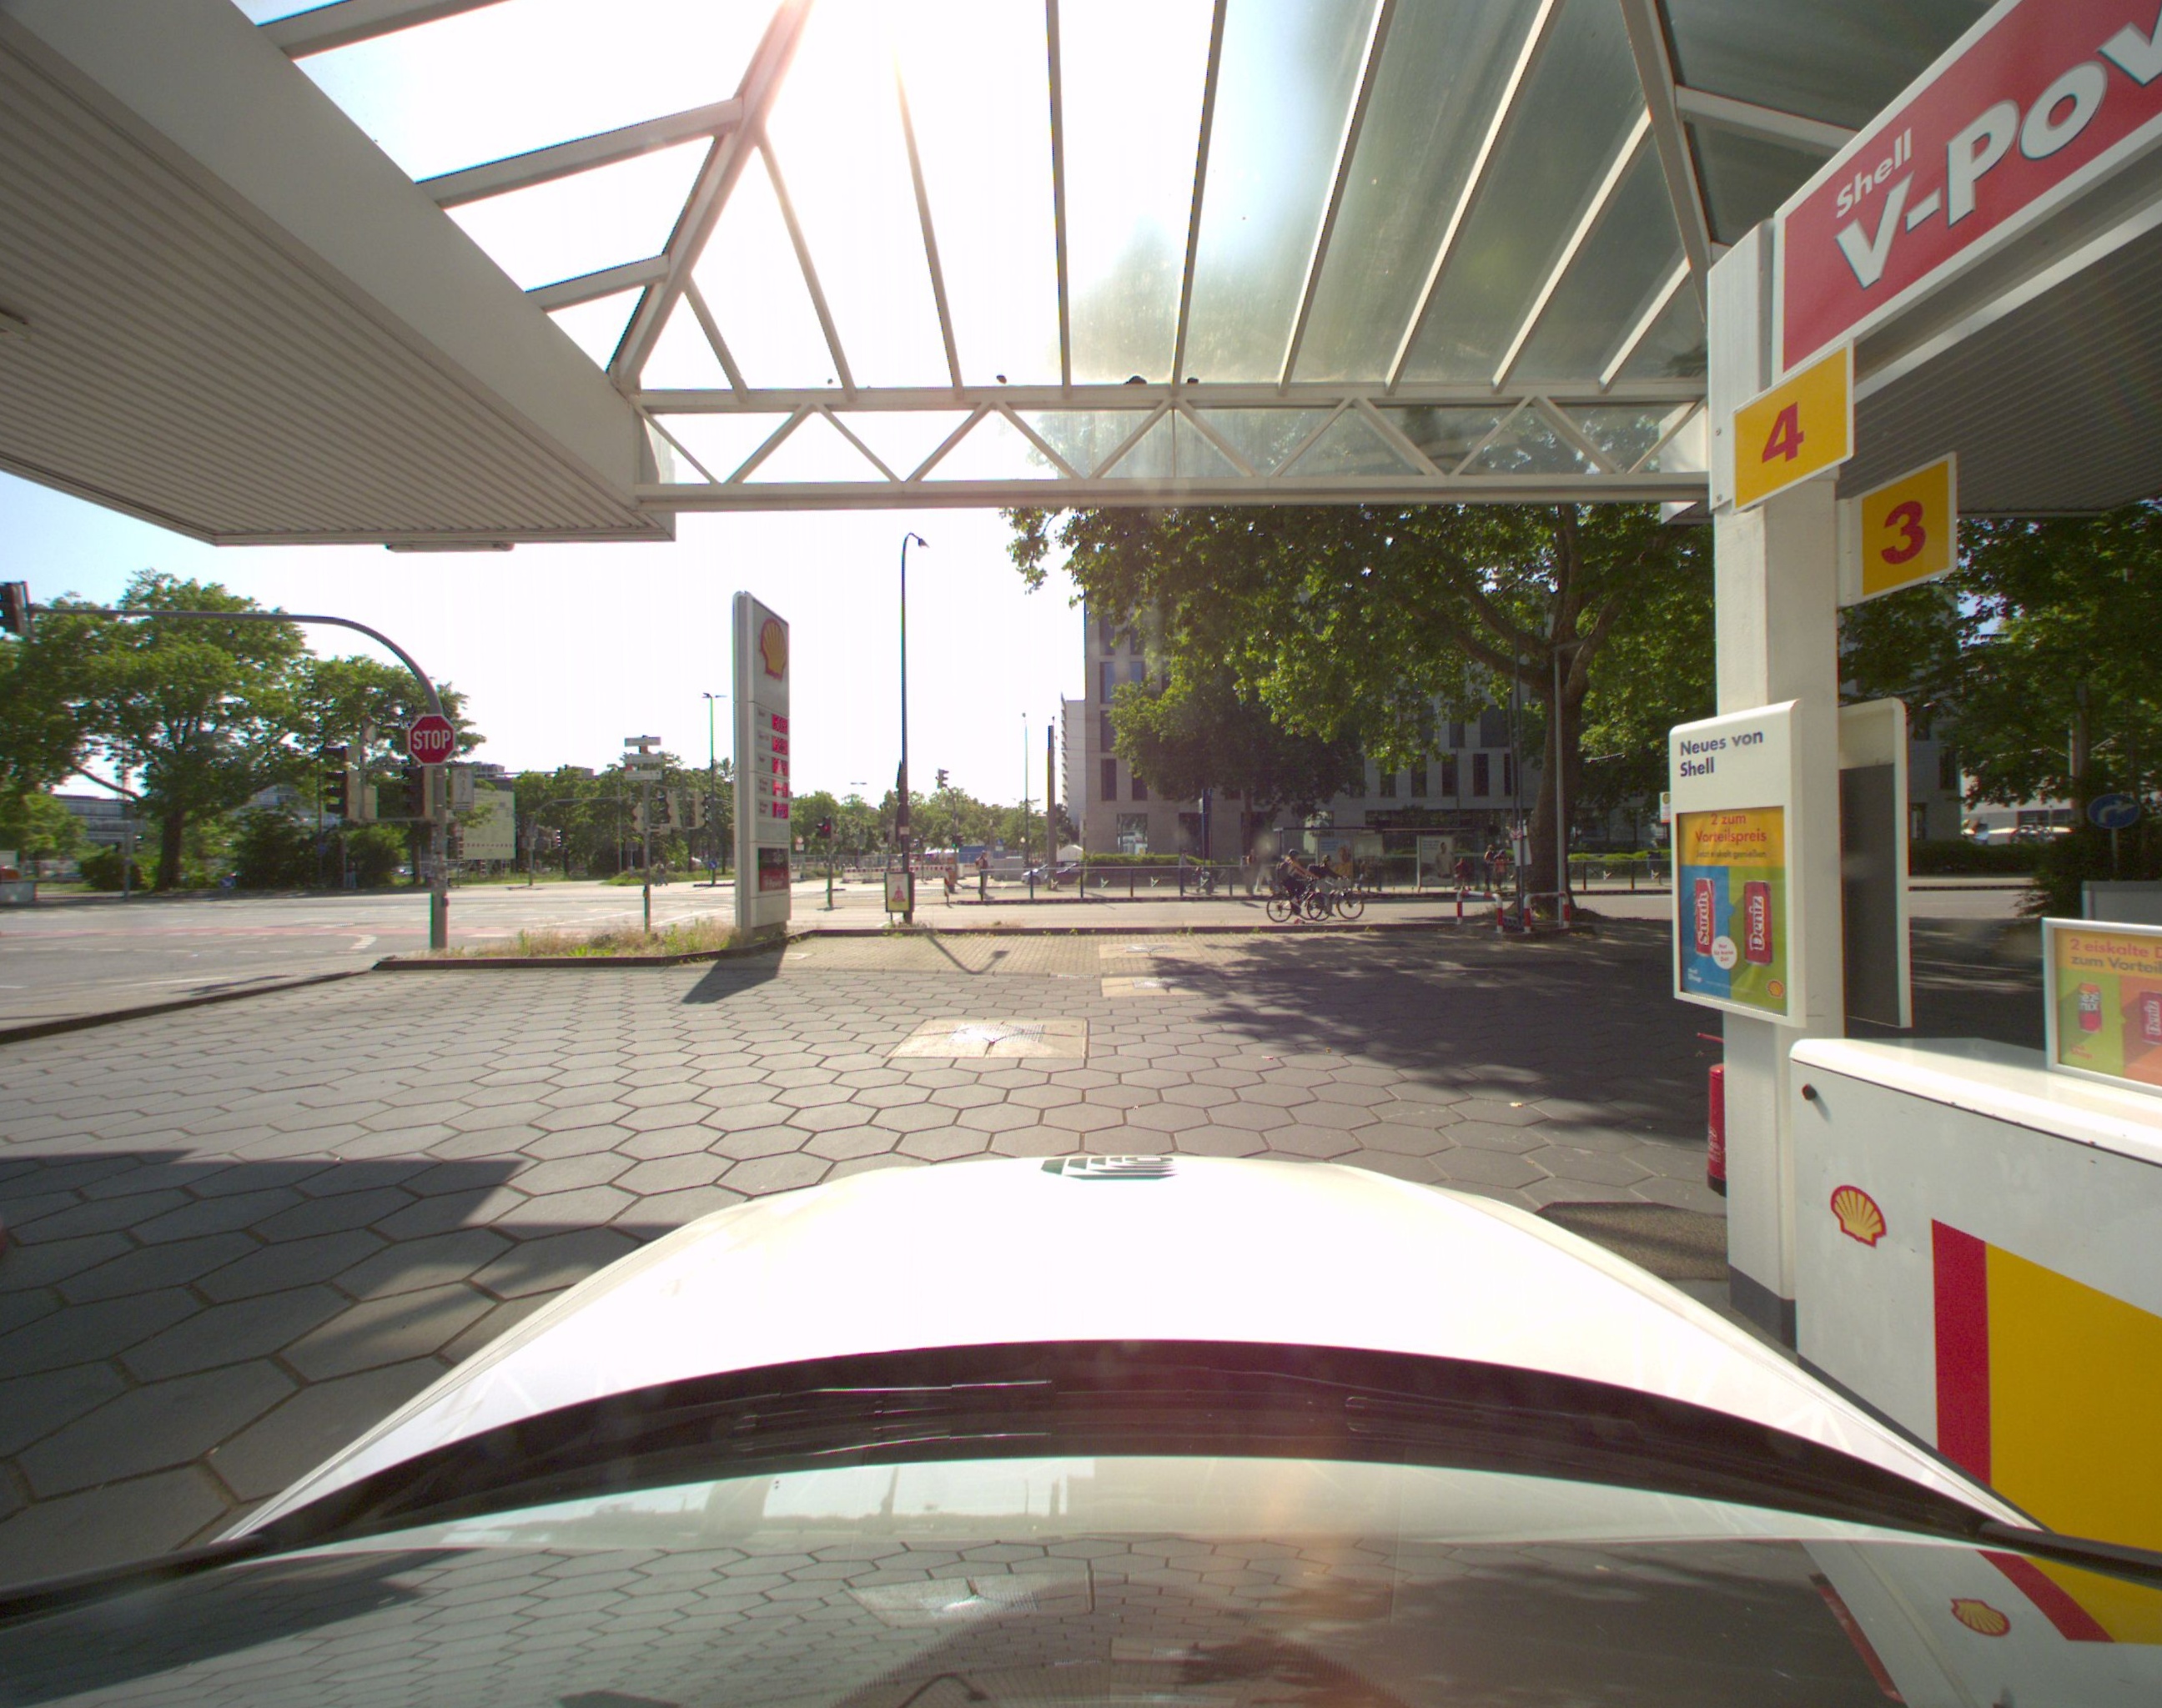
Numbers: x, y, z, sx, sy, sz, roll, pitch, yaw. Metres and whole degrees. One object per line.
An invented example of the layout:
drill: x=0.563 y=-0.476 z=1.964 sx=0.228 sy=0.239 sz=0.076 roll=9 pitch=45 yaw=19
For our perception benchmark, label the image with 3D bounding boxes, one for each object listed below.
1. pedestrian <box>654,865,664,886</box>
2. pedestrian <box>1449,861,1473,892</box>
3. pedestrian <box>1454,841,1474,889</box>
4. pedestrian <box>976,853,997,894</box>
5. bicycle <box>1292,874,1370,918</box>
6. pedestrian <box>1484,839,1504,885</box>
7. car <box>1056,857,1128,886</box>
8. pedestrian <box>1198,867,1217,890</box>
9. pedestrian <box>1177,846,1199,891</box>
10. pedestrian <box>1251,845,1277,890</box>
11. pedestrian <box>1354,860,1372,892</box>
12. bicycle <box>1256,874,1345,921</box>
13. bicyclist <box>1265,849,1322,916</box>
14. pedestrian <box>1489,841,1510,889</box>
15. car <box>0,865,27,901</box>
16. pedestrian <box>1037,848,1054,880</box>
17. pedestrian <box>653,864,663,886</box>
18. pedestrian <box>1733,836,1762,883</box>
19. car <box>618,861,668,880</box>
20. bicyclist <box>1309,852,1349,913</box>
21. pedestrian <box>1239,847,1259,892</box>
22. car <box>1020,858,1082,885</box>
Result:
pedestrian: x=-29.311 y=1.480 z=56.614 sx=0.566 sy=1.469 sz=0.509 roll=-1 pitch=0 yaw=-24
pedestrian: x=13.873 y=0.818 z=29.729 sx=0.625 sy=1.138 sz=0.525 roll=-1 pitch=0 yaw=7
pedestrian: x=13.979 y=0.413 z=29.722 sx=0.497 sy=1.735 sz=0.407 roll=-1 pitch=0 yaw=3
pedestrian: x=-3.625 y=0.753 z=31.173 sx=0.646 sy=1.540 sz=0.504 roll=-1 pitch=0 yaw=9
bicycle: x=6.490 y=1.090 z=21.178 sx=1.855 sy=1.082 sz=0.524 roll=-1 pitch=0 yaw=-1
pedestrian: x=15.763 y=0.312 z=31.102 sx=0.497 sy=1.735 sz=0.524 roll=-1 pitch=0 yaw=3
car: x=0.598 y=0.971 z=46.241 sx=3.980 sy=1.552 sz=1.700 roll=-1 pitch=0 yaw=-5
pedestrian: x=4.794 y=0.924 z=30.758 sx=0.686 sy=0.880 sz=0.504 roll=-1 pitch=0 yaw=9
pedestrian: x=4.065 y=0.542 z=30.871 sx=0.772 sy=1.683 sz=0.504 roll=-1 pitch=0 yaw=9
pedestrian: x=6.943 y=0.503 z=30.914 sx=0.926 sy=1.683 sz=0.504 roll=-1 pitch=0 yaw=9
pedestrian: x=10.260 y=0.802 z=29.659 sx=0.496 sy=1.138 sz=0.525 roll=-1 pitch=0 yaw=7
bicycle: x=5.383 y=1.055 z=19.989 sx=2.020 sy=1.082 sz=0.637 roll=-1 pitch=0 yaw=-12
bicyclist: x=5.206 y=0.680 z=19.964 sx=1.170 sy=1.580 sz=0.637 roll=-1 pitch=0 yaw=-11
pedestrian: x=15.206 y=0.396 z=29.610 sx=0.497 sy=1.735 sz=0.524 roll=-1 pitch=0 yaw=3
car: x=-62.562 y=1.715 z=45.540 sx=4.421 sy=2.014 sz=1.999 roll=-3 pitch=-1 yaw=-2
pedestrian: x=-2.515 y=0.685 z=57.994 sx=1.104 sy=2.248 sz=1.103 roll=-1 pitch=0 yaw=1
pedestrian: x=-29.799 y=1.471 z=57.413 sx=0.566 sy=1.469 sz=0.509 roll=-1 pitch=0 yaw=-24
pedestrian: x=25.285 y=0.205 z=30.903 sx=0.688 sy=1.735 sz=0.505 roll=-1 pitch=0 yaw=16
car: x=-45.047 y=1.687 z=83.771 sx=3.968 sy=1.816 sz=2.003 roll=-3 pitch=-1 yaw=4
bicyclist: x=6.450 y=0.734 z=21.186 sx=0.860 sy=1.544 sz=0.535 roll=-1 pitch=-1 yaw=1
pedestrian: x=6.079 y=0.541 z=29.514 sx=0.582 sy=1.591 sz=0.670 roll=-1 pitch=1 yaw=0
car: x=-1.813 y=1.064 z=49.184 sx=3.676 sy=1.552 sz=1.589 roll=-1 pitch=0 yaw=-5
